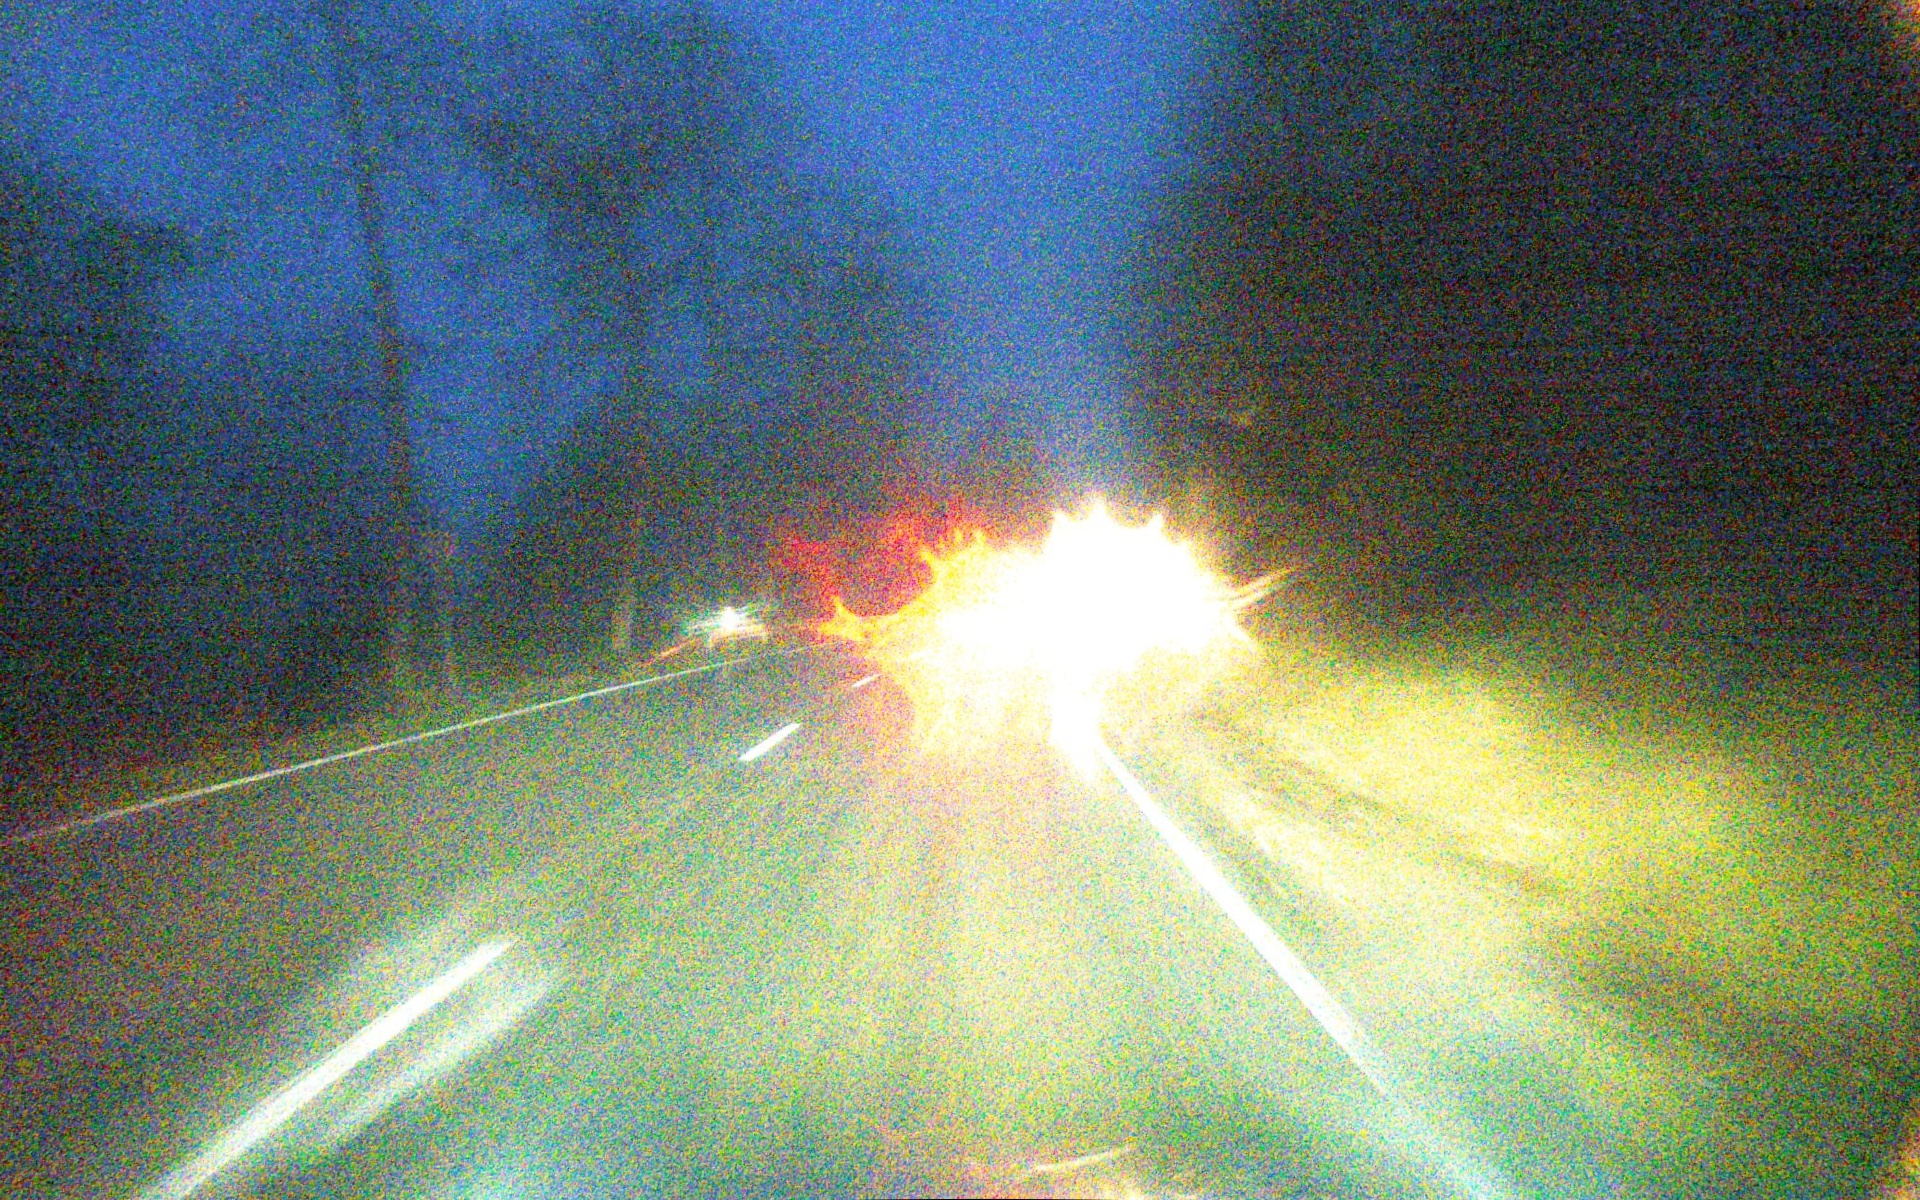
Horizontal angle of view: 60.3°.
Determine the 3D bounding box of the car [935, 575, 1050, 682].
[{"bbox_3d":[0.561,0.492,32.081,1.953,1.838,3.916,-3,1,-2],"label":"car"}]
